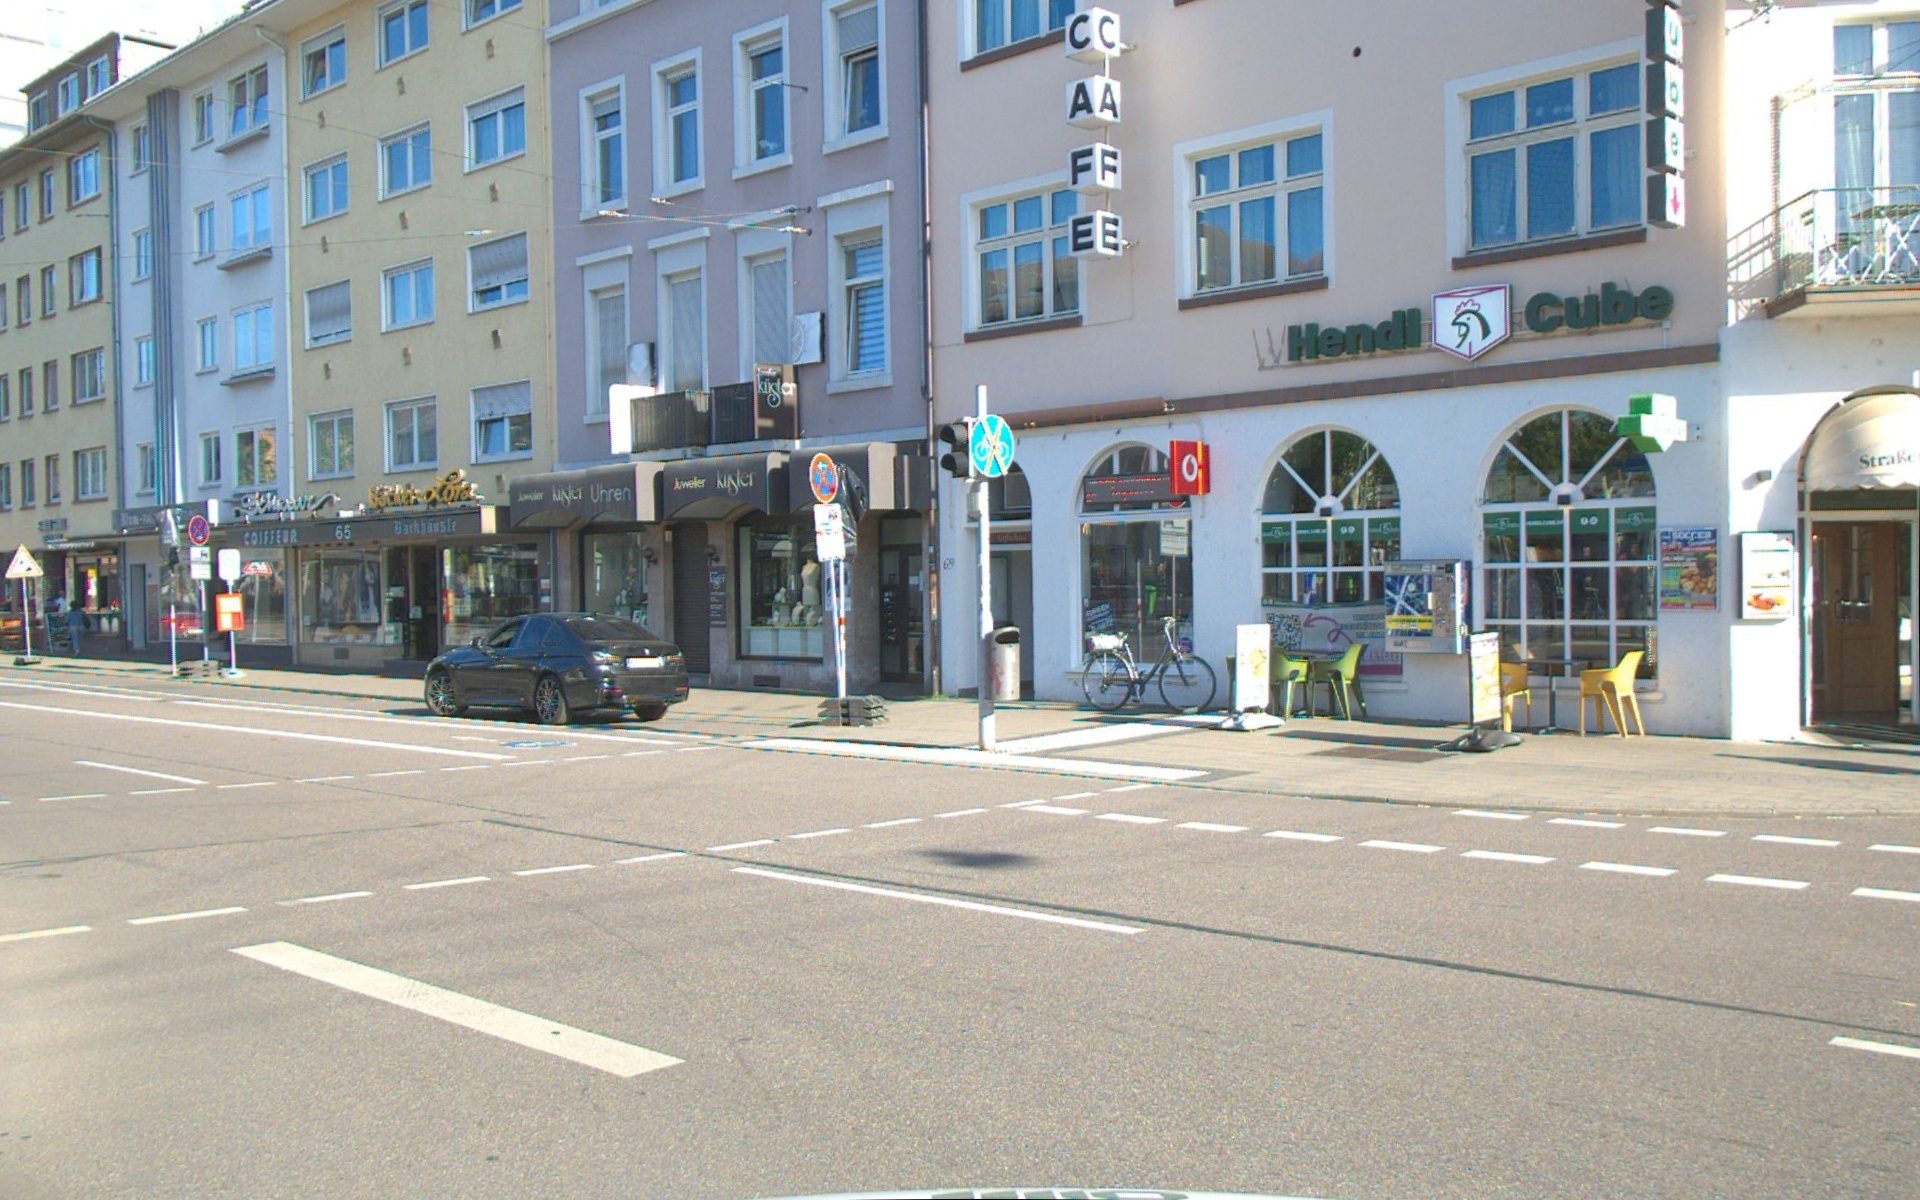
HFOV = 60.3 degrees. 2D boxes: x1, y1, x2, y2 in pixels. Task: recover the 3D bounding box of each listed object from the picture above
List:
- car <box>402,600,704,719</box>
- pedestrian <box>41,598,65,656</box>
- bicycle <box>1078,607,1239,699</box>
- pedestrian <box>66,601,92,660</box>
[{"bbox_3d":[-5.723,0.775,22.947,4.569,1.465,1.735,-1,1,40],"label":"car"},{"bbox_3d":[-26.546,0.782,48.394,0.499,1.672,0.468,-1,0,44],"label":"pedestrian"},{"bbox_3d":[2.456,0.647,20.597,1.908,1.086,0.582,-1,1,33],"label":"bicycle"},{"bbox_3d":[-24.120,0.825,45.288,0.504,1.589,0.458,-1,0,-45],"label":"pedestrian"}]
